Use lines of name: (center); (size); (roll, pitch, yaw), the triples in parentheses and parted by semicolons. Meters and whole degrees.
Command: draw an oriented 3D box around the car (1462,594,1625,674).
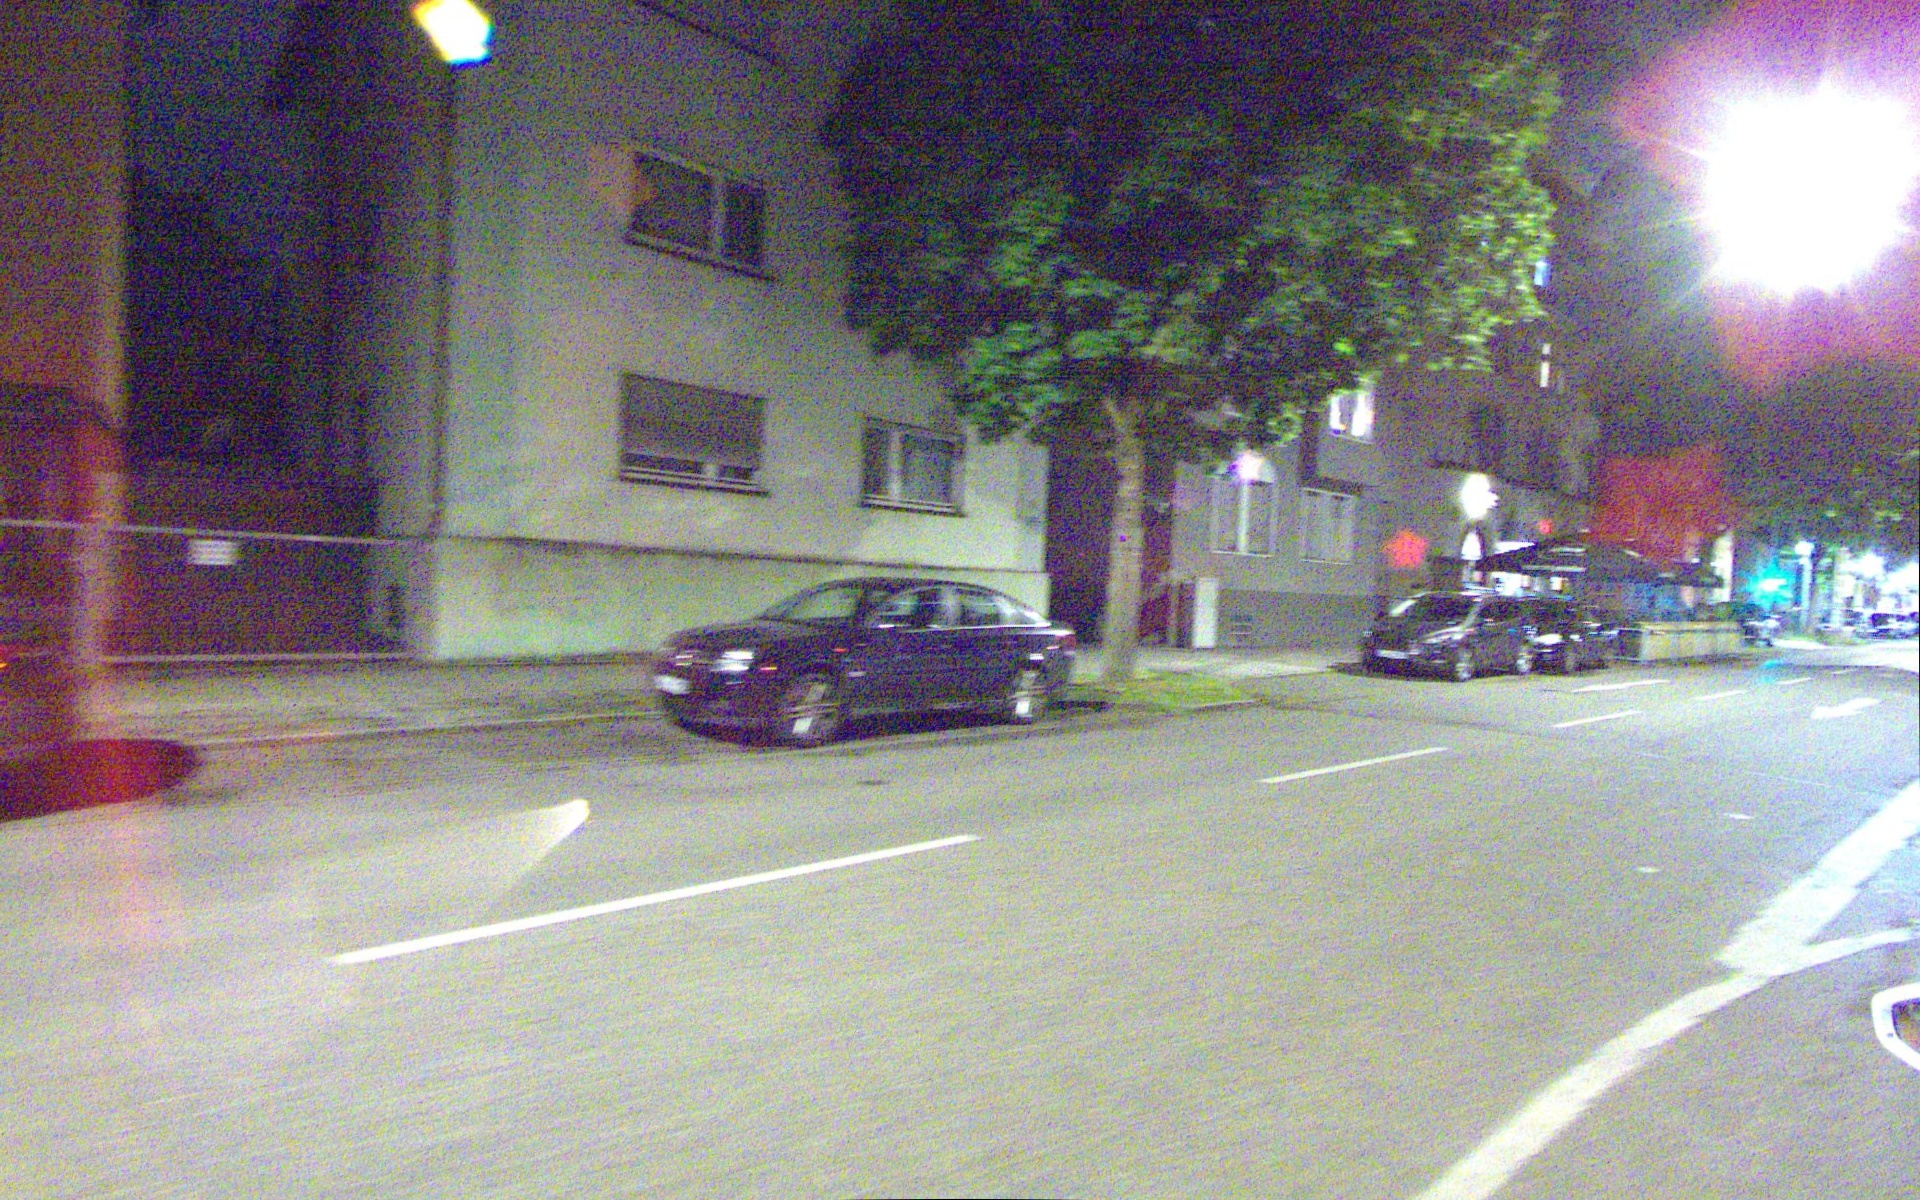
car: (12.695, 0.709, 21.747); (4.291, 1.501, 1.787); (1, 1, -42)

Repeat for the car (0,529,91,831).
car: (-6.897, 0.335, 4.266); (4.827, 1.505, 1.752); (1, 1, -42)

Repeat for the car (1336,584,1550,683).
car: (8.961, 0.578, 18.491); (4.417, 1.491, 1.883); (1, 3, -41)

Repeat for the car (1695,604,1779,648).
car: (27.847, 0.918, 35.950); (3.969, 1.450, 1.637); (1, 1, -41)

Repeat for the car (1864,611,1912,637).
car: (54.701, 1.404, 59.181); (3.969, 1.450, 1.637); (1, 1, -41)

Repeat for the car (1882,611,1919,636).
car: (59.869, 1.484, 63.647); (3.969, 1.450, 1.637); (1, 1, -41)

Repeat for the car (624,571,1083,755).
car: (-0.829, 0.504, 9.848); (4.422, 1.401, 1.606); (1, 1, -44)

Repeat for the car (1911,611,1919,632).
car: (70.137, 1.590, 72.608); (3.969, 1.450, 1.637); (1, 1, -41)

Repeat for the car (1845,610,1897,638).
car: (50.089, 1.319, 55.207); (3.969, 1.450, 1.637); (1, 1, -41)

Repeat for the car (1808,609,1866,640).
car: (43.749, 1.208, 50.108); (3.969, 1.450, 1.637); (1, 1, -41)
